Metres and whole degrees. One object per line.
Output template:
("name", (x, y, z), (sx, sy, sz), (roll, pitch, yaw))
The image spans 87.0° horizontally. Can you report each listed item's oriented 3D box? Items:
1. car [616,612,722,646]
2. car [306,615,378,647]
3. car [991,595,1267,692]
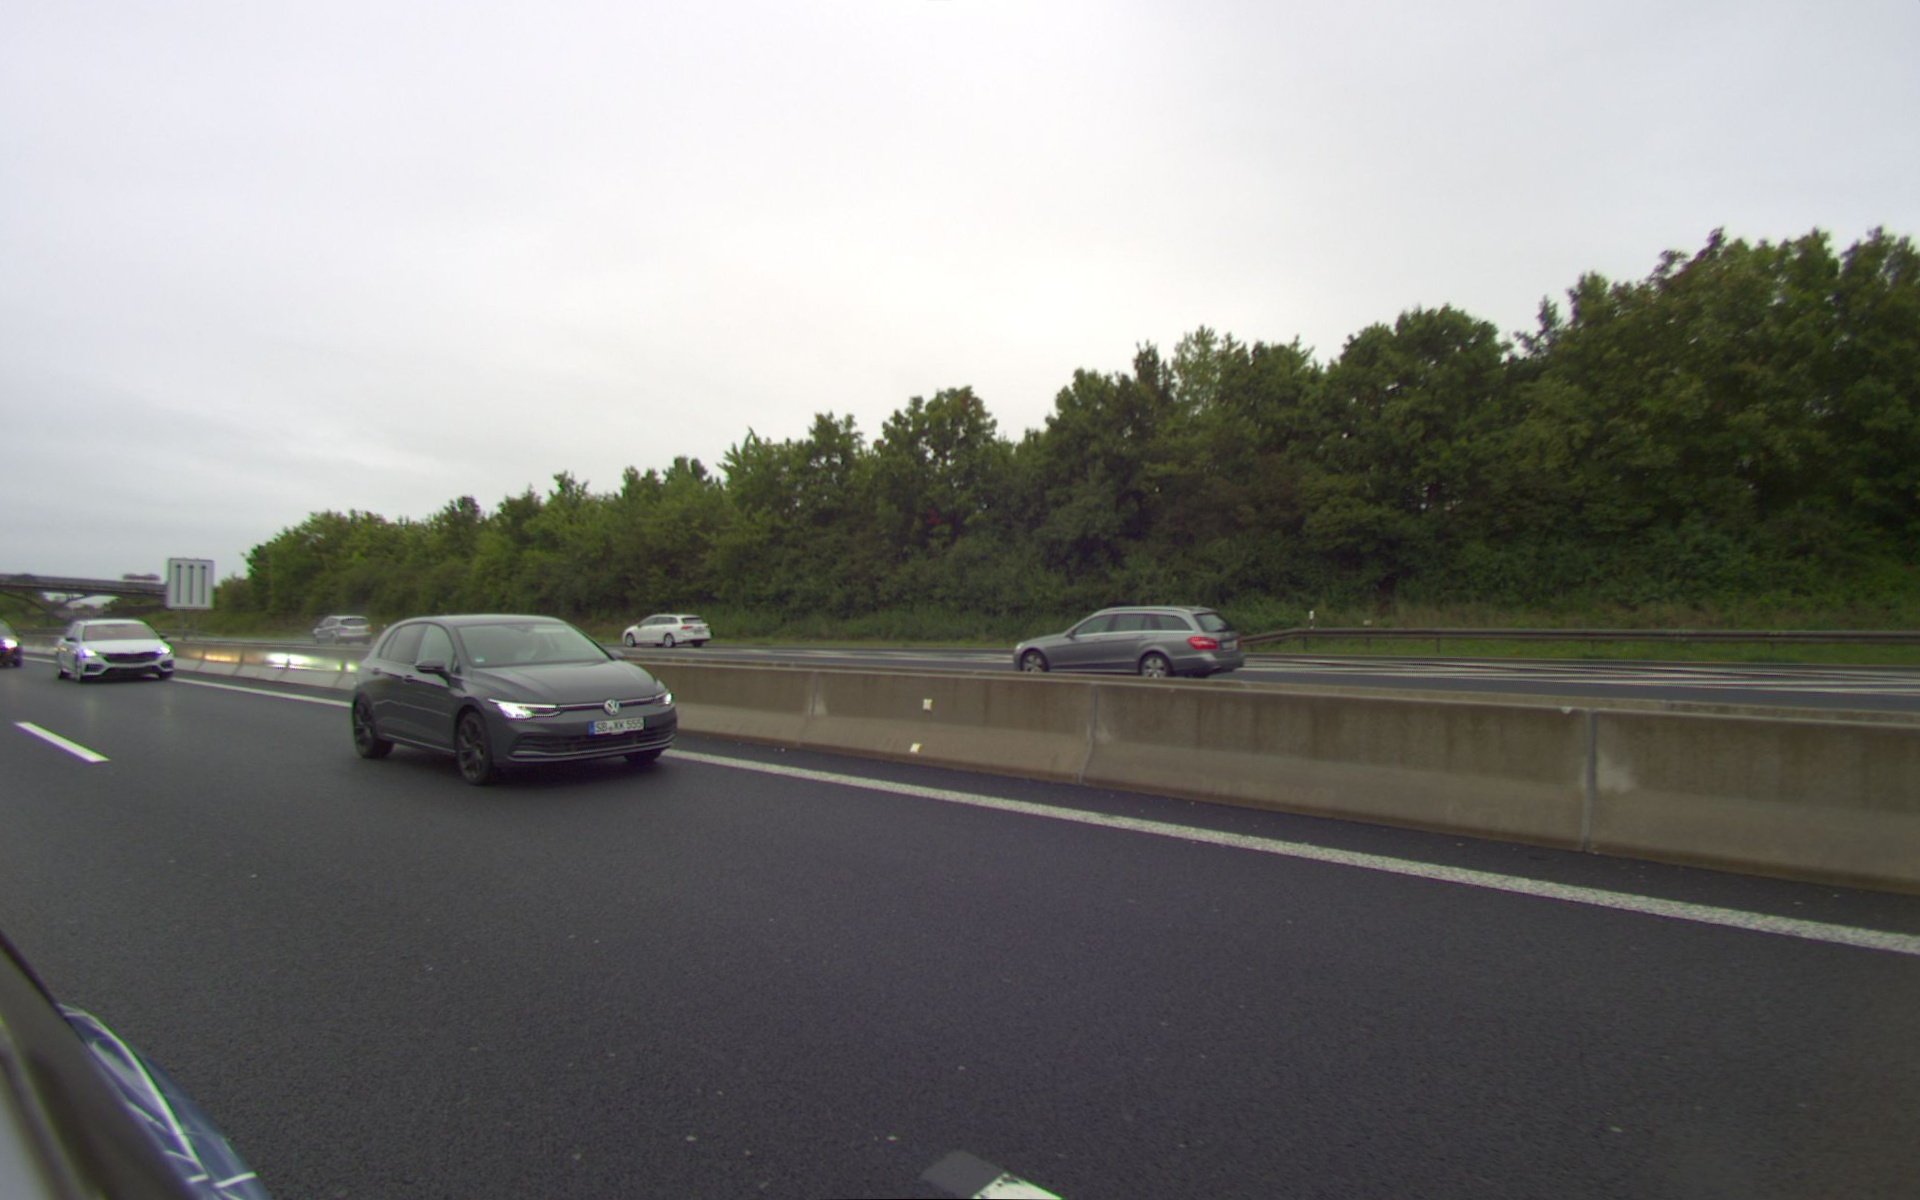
("car", (-12.923, 1.280, 44.878), (4.374, 1.441, 2.163), (-1, -1, 32))
("car", (-33.645, 1.668, 55.065), (4.536, 1.647, 2.156), (-2, -1, 42))
("car", (3.272, 0.822, 20.504), (5.252, 1.708, 2.155), (-2, -1, 45))
